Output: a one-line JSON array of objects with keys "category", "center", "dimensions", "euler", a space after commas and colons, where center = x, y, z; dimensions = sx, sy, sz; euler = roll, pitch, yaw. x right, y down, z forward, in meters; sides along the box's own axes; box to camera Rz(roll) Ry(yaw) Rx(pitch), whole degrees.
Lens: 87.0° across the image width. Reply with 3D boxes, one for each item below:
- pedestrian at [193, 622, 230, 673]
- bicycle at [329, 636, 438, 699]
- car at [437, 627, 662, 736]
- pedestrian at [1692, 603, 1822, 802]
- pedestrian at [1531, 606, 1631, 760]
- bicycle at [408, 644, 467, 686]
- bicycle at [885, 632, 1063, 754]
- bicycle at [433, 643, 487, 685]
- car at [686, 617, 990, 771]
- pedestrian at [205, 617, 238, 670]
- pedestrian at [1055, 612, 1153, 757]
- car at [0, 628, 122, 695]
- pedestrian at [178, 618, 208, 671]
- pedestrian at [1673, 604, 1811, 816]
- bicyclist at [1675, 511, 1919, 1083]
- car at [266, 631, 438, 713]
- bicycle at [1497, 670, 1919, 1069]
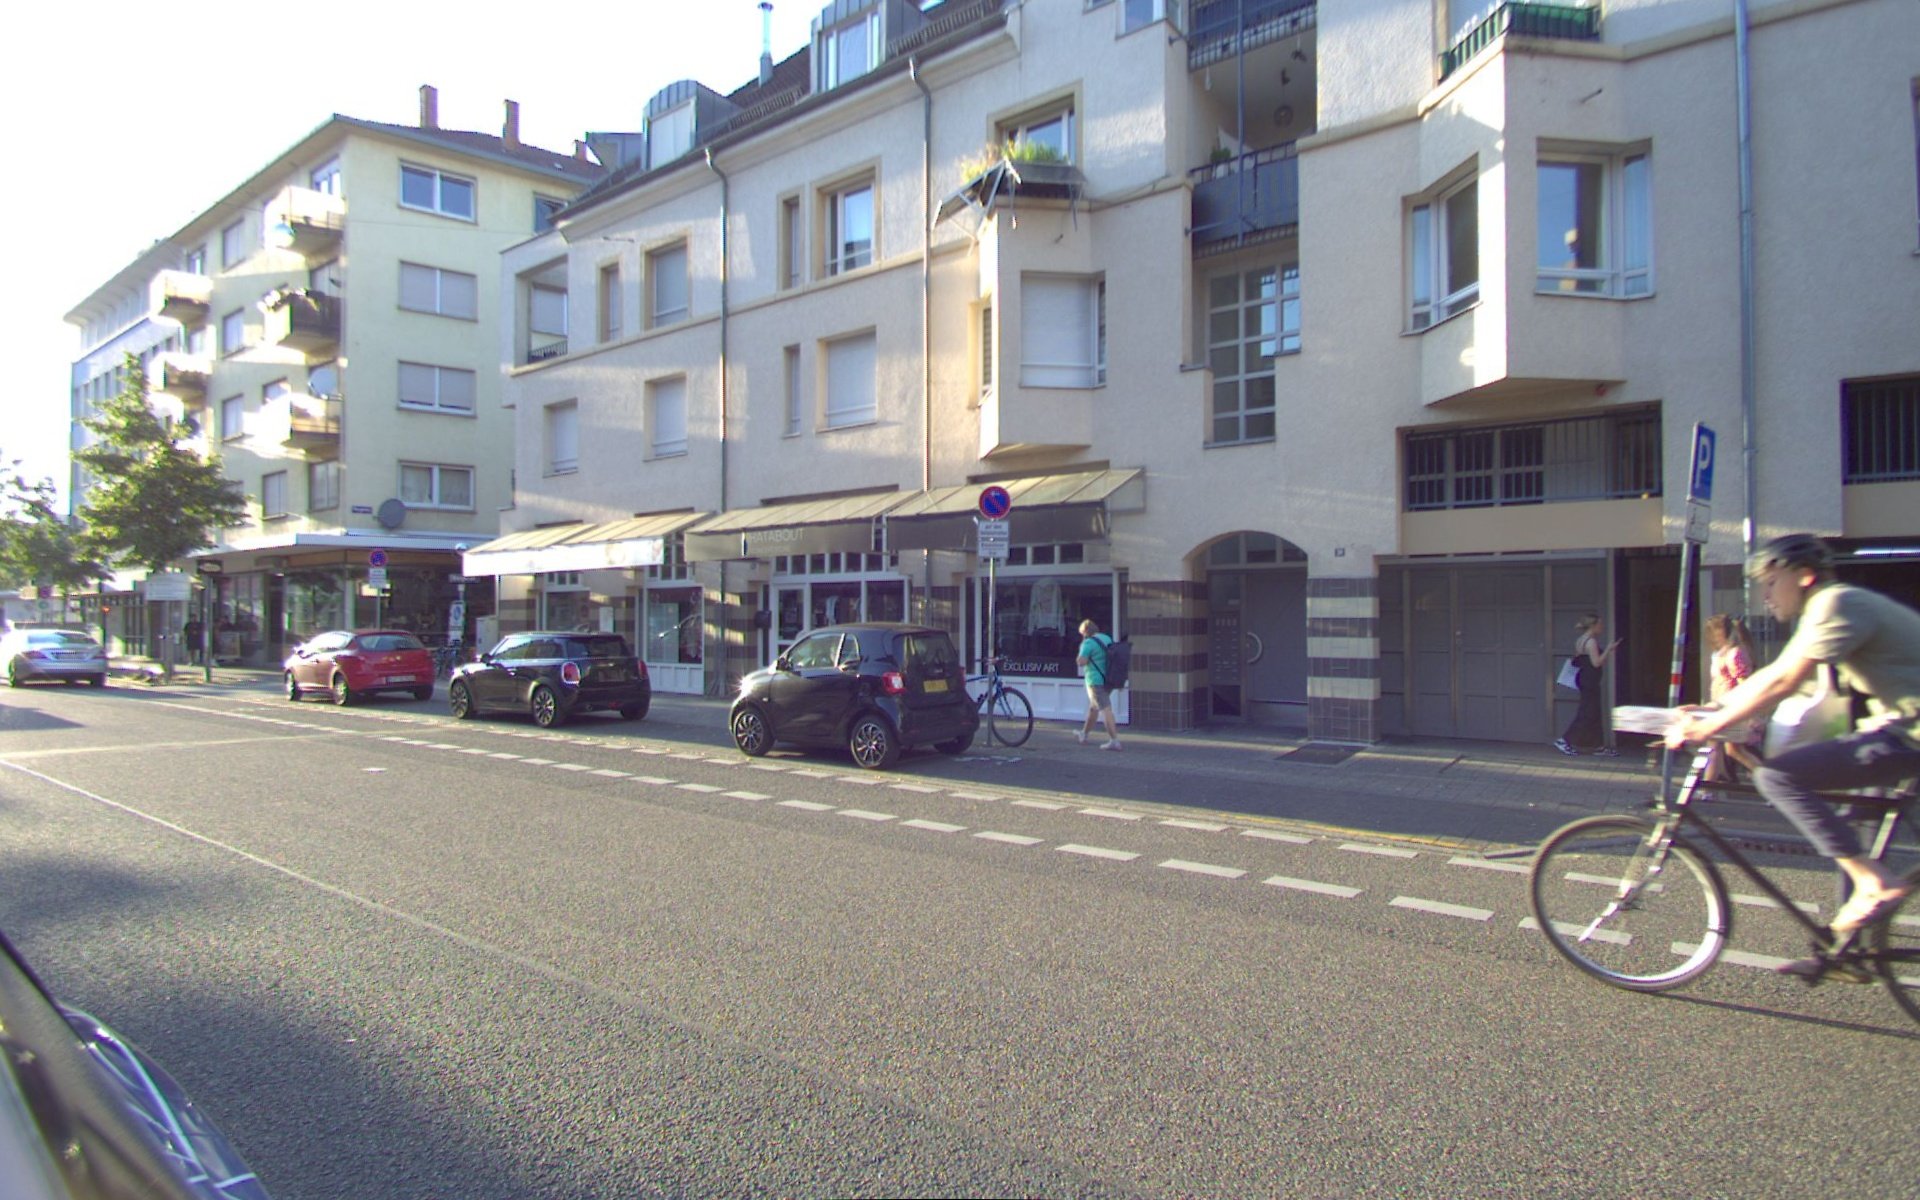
[{"category": "pedestrian", "center": [-25.433, 1.604, 34.383], "dimensions": [0.757, 1.689, 0.744], "euler": [0, -1, -10]}, {"category": "bicycle", "center": [-13.258, 1.503, 23.221], "dimensions": [3.120, 1.310, 0.950], "euler": [-1, 0, 36]}, {"category": "car", "center": [-6.606, 1.205, 16.149], "dimensions": [3.719, 1.464, 1.695], "euler": [-1, 0, 38]}, {"category": "pedestrian", "center": [7.088, 0.863, 9.000], "dimensions": [0.855, 1.654, 0.709], "euler": [-1, 0, 42]}, {"category": "pedestrian", "center": [6.953, 0.892, 11.328], "dimensions": [0.854, 1.628, 0.709], "euler": [-1, 0, 40]}, {"category": "bicycle", "center": [-13.448, 1.666, 26.032], "dimensions": [2.011, 0.999, 0.485], "euler": [-1, 0, 36]}, {"category": "bicycle", "center": [0.132, 1.124, 12.863], "dimensions": [2.355, 1.385, 0.605], "euler": [-1, 0, 37]}, {"category": "bicycle", "center": [-13.073, 1.660, 26.432], "dimensions": [2.013, 0.999, 0.485], "euler": [-1, 0, 39]}, {"category": "car", "center": [-1.458, 0.997, 11.863], "dimensions": [3.181, 1.547, 1.776], "euler": [-1, -2, 35]}, {"category": "pedestrian", "center": [-26.007, 1.541, 35.635], "dimensions": [0.812, 1.833, 0.733], "euler": [-3, -3, 39]}, {"category": "pedestrian", "center": [1.743, 0.978, 12.223], "dimensions": [0.949, 1.654, 0.710], "euler": [-1, 0, 35]}, {"category": "car", "center": [-23.101, 1.508, 25.572], "dimensions": [4.502, 1.523, 1.975], "euler": [-1, -4, 38]}, {"category": "pedestrian", "center": [-27.271, 1.571, 35.984], "dimensions": [0.758, 1.862, 0.744], "euler": [1, -3, -43]}, {"category": "pedestrian", "center": [6.558, 0.869, 8.490], "dimensions": [0.855, 1.654, 0.709], "euler": [-1, 0, 42]}, {"category": "bicyclist", "center": [3.224, 0.643, 3.661], "dimensions": [1.005, 1.843, 0.774], "euler": [-1, -2, 35]}, {"category": "car", "center": [-12.280, 1.368, 20.369], "dimensions": [3.877, 1.413, 1.645], "euler": [-1, 0, 37]}, {"category": "bicycle", "center": [3.136, 0.903, 3.670], "dimensions": [2.016, 1.213, 0.774], "euler": [-1, -2, 35]}]
